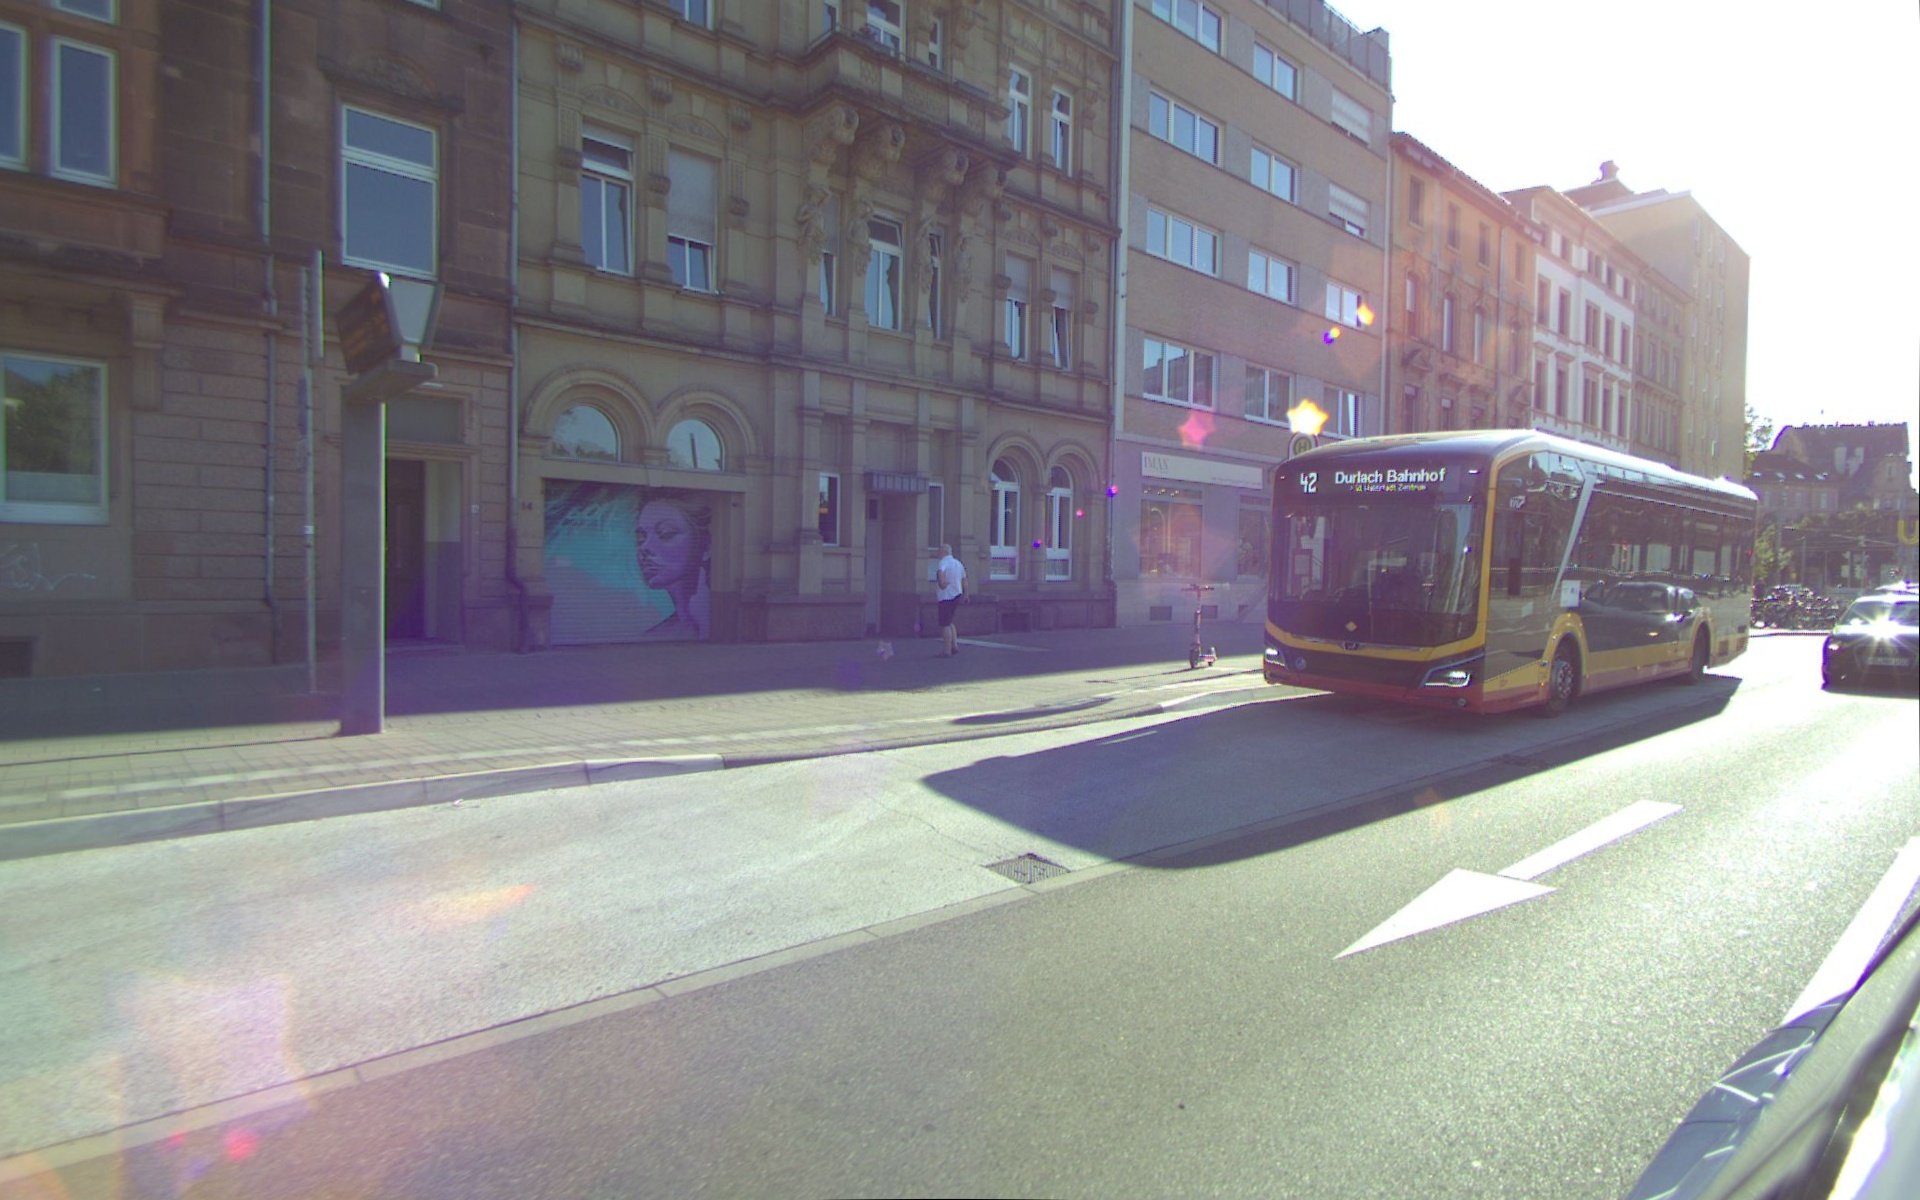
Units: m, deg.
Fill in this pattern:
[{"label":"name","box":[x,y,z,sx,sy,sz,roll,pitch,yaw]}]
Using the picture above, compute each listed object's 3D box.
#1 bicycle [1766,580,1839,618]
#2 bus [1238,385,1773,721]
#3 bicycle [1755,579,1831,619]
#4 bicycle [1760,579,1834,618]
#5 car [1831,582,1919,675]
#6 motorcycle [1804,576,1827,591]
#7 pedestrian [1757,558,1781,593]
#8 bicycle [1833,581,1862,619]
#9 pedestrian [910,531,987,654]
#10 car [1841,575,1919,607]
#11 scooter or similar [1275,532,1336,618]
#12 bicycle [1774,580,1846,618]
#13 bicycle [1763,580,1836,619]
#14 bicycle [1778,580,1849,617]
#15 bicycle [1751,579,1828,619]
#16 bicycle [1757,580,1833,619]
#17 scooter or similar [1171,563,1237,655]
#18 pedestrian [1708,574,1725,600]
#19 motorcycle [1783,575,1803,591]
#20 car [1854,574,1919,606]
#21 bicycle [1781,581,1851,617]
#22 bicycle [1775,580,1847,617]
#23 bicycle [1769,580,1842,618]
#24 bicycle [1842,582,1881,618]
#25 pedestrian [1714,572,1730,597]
[{"label":"bicycle","box":[27.445,-0.036,32.990,0.462,1.202,1.768,1,1,-41]},{"label":"bus","box":[8.778,-0.597,14.808,12.324,3.219,2.720,-1,3,-42]},{"label":"bicycle","box":[26.021,-0.041,31.628,0.462,1.202,1.768,1,1,-41]},{"label":"bicycle","box":[26.715,-0.058,32.318,0.462,1.202,1.768,1,1,-41]},{"label":"car","box":[15.742,0.421,16.586,3.764,1.405,1.693,0,1,-41]},{"label":"motorcycle","box":[65.256,-1.253,77.239,1.034,1.087,2.255,4,3,34]},{"label":"pedestrian","box":[44.516,-1.338,55.709,0.743,1.889,0.827,1,2,19]},{"label":"bicycle","box":[28.228,-0.008,32.180,1.740,1.161,0.469,0,1,-41]},{"label":"pedestrian","box":[-0.190,-0.118,15.911,0.764,1.856,0.855,3,1,-34]},{"label":"car","box":[45.793,-0.463,49.180,4.044,1.482,1.958,1,2,8]},{"label":"scooter or similar","box":[5.343,-0.399,15.616,0.430,1.264,1.277,4,4,39]},{"label":"bicycle","box":[28.220,-0.052,33.636,0.462,1.202,1.768,1,1,-41]},{"label":"bicycle","box":[27.076,-0.040,32.662,0.462,1.202,1.768,1,1,-41]},{"label":"bicycle","box":[28.923,-0.058,34.324,0.462,1.193,1.768,1,1,-41]},{"label":"bicycle","box":[25.646,-0.039,31.318,0.462,1.202,1.768,1,1,-41]},{"label":"bicycle","box":[26.366,-0.030,31.985,0.462,1.202,1.795,1,1,-41]},{"label":"scooter or similar","box":[3.596,0.102,14.873,0.430,1.264,1.278,4,4,37]},{"label":"pedestrian","box":[40.089,-0.684,53.643,0.580,1.335,0.517,0,2,-34]},{"label":"motorcycle","box":[60.248,-1.235,73.164,1.774,1.059,0.879,-3,5,-44]},{"label":"car","box":[48.535,-0.522,51.511,4.176,1.590,1.958,0,1,5]},{"label":"bicycle","box":[29.294,-0.042,34.649,0.462,1.193,1.768,1,1,-41]},{"label":"bicycle","box":[28.565,-0.053,33.989,0.462,1.202,1.768,1,1,-41]},{"label":"bicycle","box":[27.824,-0.036,33.333,0.462,1.202,1.768,1,1,-41]},{"label":"bicycle","box":[30.227,-0.013,33.948,0.465,1.161,1.755,1,1,25]},{"label":"pedestrian","box":[40.684,-0.842,54.043,0.580,1.335,0.517,0,2,-34]}]
